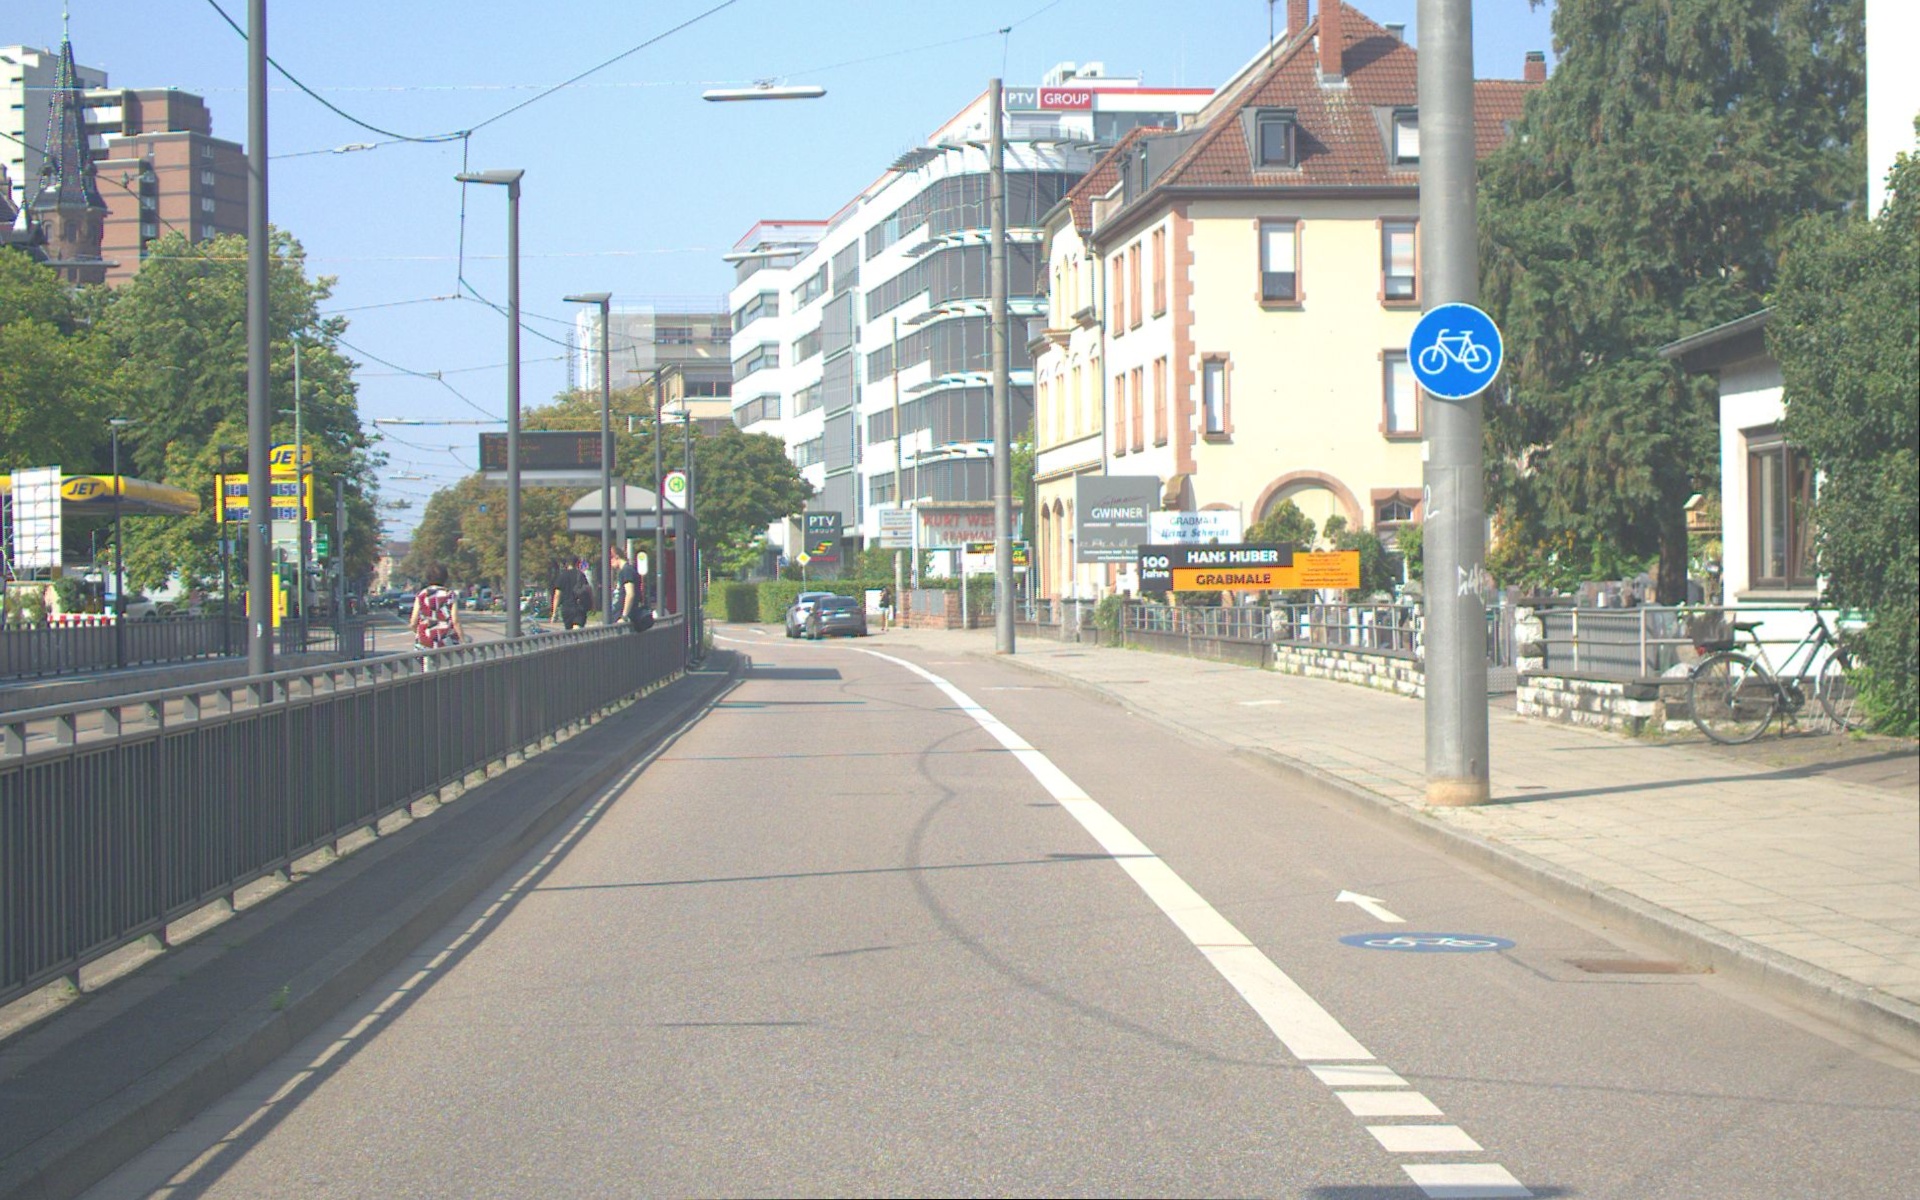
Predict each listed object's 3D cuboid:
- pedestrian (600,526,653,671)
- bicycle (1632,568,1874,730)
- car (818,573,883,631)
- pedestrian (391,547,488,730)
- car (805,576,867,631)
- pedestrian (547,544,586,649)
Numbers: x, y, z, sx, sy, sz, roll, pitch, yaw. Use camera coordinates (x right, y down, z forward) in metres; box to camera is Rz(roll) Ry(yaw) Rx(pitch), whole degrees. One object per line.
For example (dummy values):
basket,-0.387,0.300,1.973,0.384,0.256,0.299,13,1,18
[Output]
pedestrian,-3.974,-0.023,41.017,0.536,1.697,0.582,-3,0,-4
bicycle,6.085,0.358,26.580,0.731,1.129,2.840,-5,1,-9
car,-3.694,0.050,116.549,2.011,1.852,4.000,-3,1,-1
pedestrian,-4.991,0.360,33.000,0.720,1.697,0.884,-3,0,-1
car,-4.412,0.110,122.678,2.011,1.852,4.000,-3,1,-1
pedestrian,-6.505,-0.054,56.810,0.536,1.697,0.582,-3,0,-4
